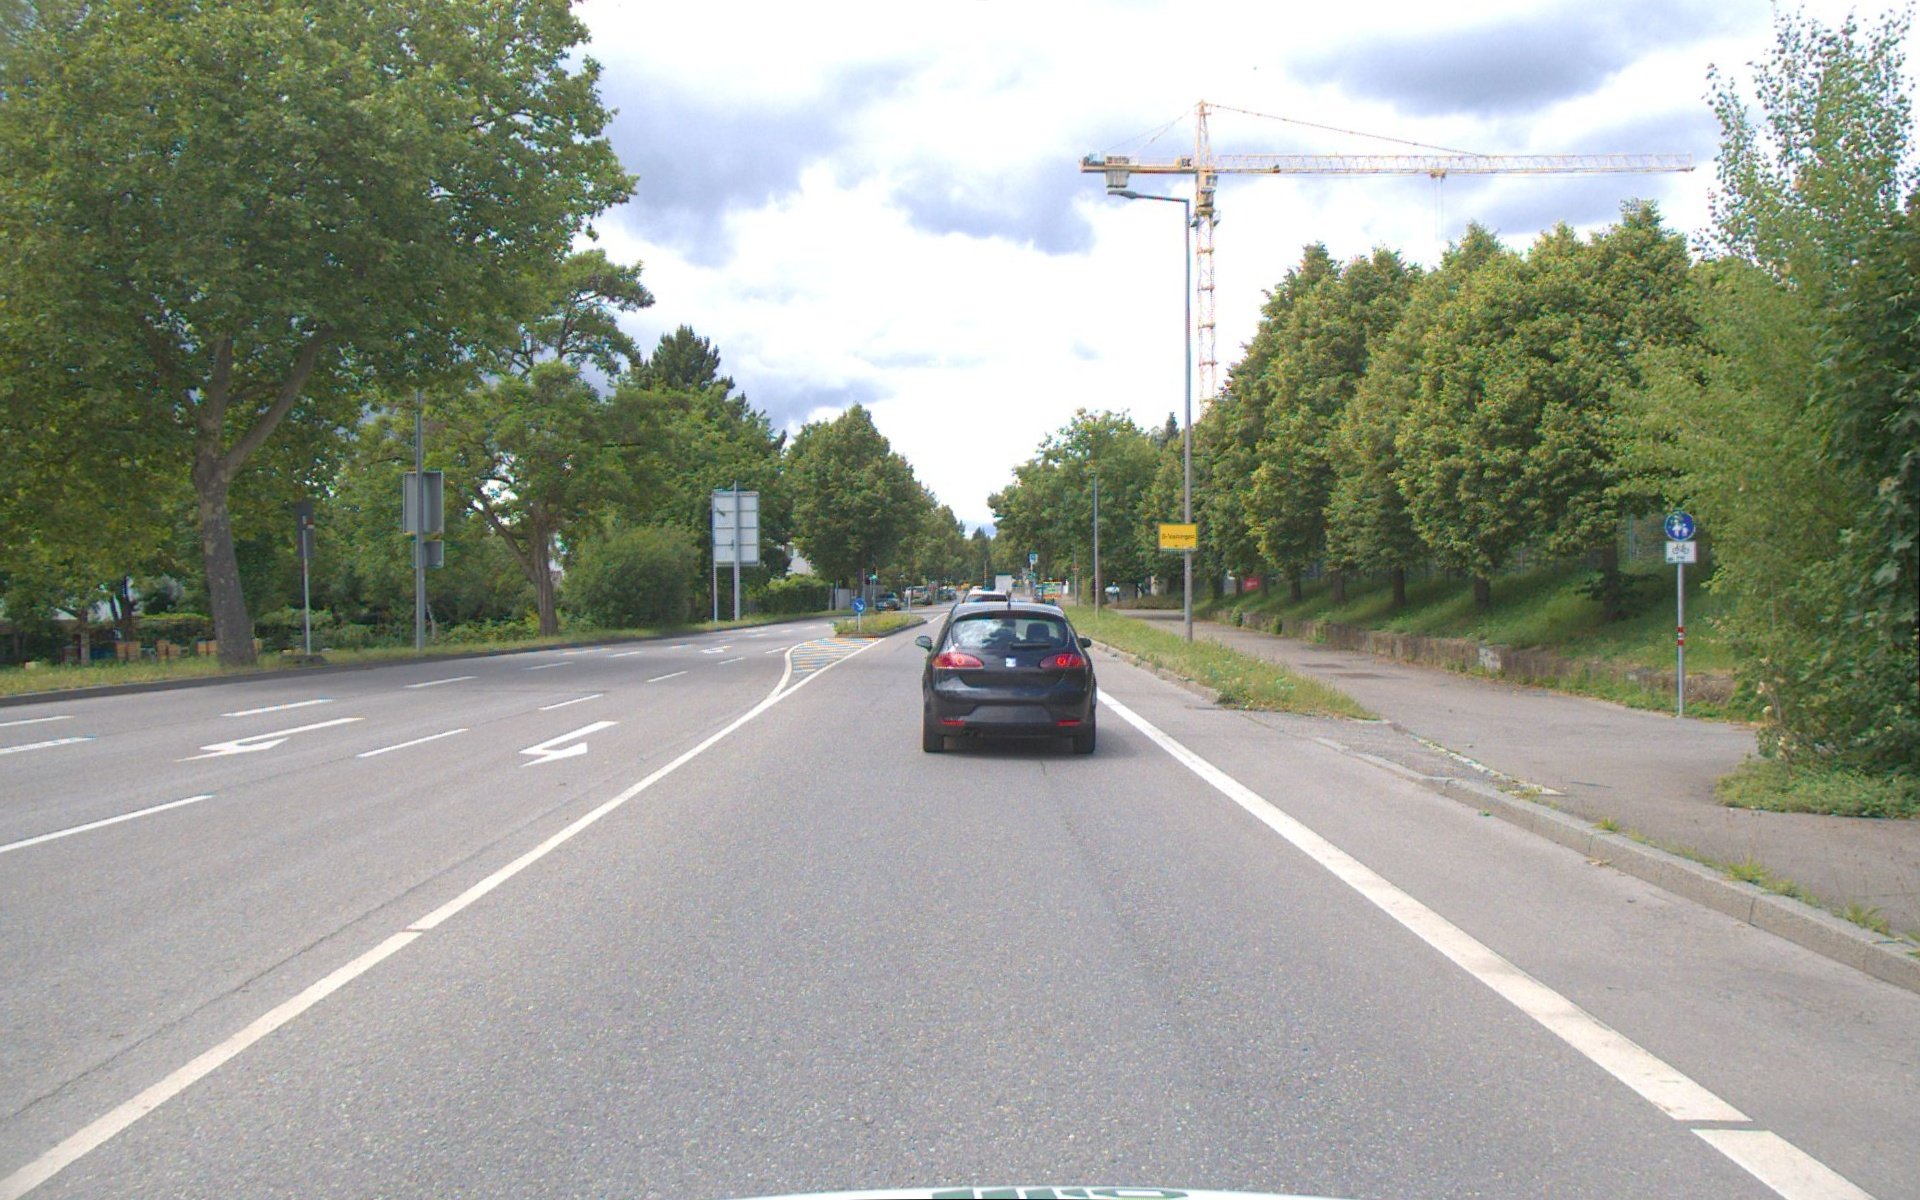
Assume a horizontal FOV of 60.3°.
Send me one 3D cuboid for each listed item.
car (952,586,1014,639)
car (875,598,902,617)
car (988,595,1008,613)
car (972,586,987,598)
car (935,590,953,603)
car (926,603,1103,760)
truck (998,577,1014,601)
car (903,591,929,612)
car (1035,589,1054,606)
[{"bbox_3d":[0.703,0.355,50.513,1.808,1.536,3.812,1,0,1],"label":"car"},{"bbox_3d":[-5.611,0.566,129.462,1.682,1.419,4.802,-2,0,2],"label":"car"},{"bbox_3d":[3.610,0.366,156.550,1.842,1.718,4.215,-1,0,2],"label":"car"},{"bbox_3d":[2.875,-1.157,243.154,1.835,1.663,4.343,-2,0,4],"label":"car"},{"bbox_3d":[-2.072,-0.482,215.806,2.056,1.532,5.785,-3,0,2],"label":"car"},{"bbox_3d":[0.534,0.757,17.255,1.628,1.426,3.812,1,0,1],"label":"car"},{"bbox_3d":[6.469,-1.534,232.359,2.232,3.158,8.512,1,0,1],"label":"truck"},{"bbox_3d":[-4.194,0.147,158.726,2.056,1.929,5.785,-2,0,2],"label":"car"},{"bbox_3d":[7.772,-0.243,152.707,1.653,1.516,3.356,-1,0,2],"label":"car"}]
